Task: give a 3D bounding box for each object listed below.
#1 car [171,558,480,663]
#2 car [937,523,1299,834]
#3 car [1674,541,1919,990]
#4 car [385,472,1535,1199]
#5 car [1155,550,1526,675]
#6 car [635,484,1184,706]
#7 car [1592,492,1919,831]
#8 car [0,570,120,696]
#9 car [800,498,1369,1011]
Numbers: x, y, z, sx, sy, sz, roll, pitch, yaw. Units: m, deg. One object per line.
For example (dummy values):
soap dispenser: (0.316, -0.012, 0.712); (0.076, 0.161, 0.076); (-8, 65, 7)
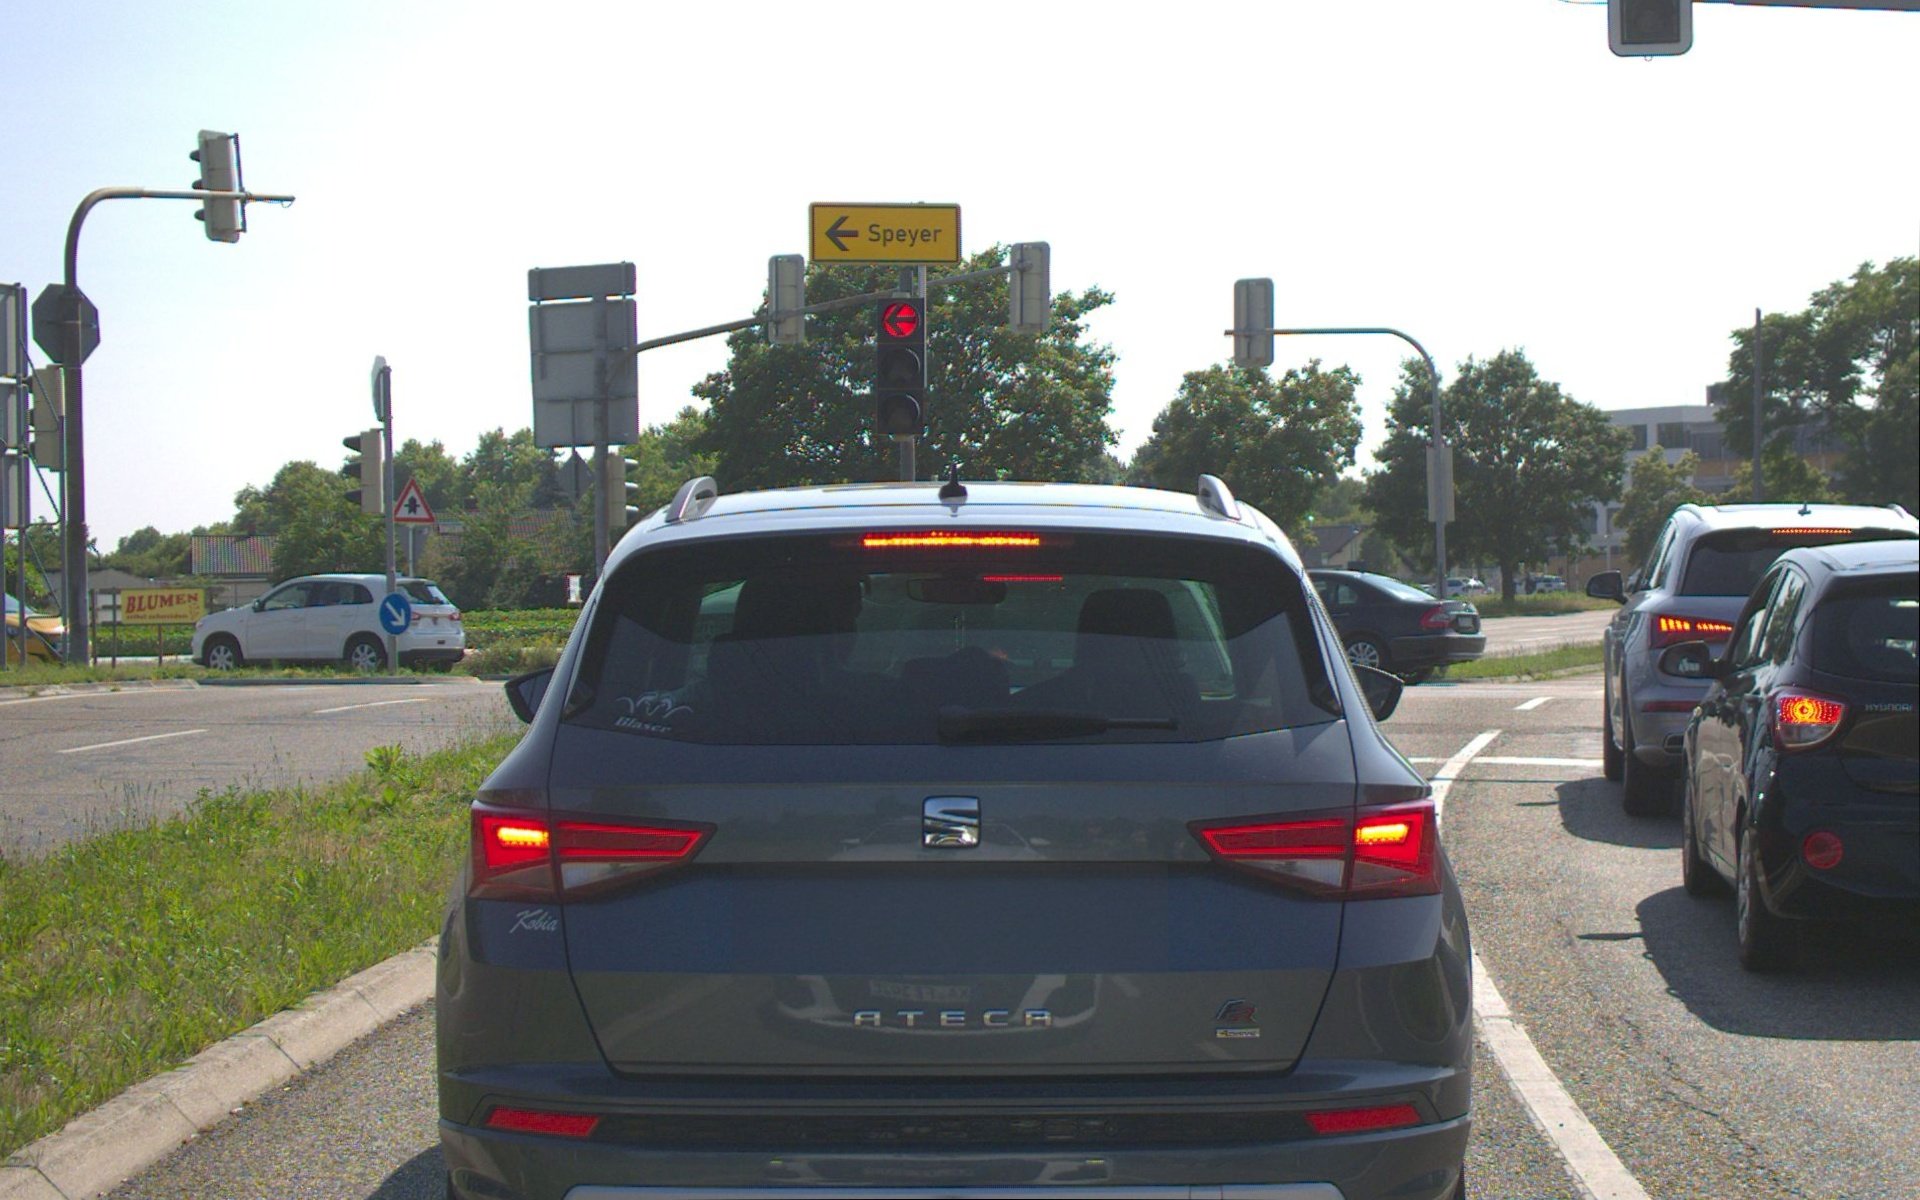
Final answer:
car: (-9.521, 0.158, 51.583); (4.327, 1.514, 1.805); (0, 1, 26)
car: (0.944, 0.360, 18.577); (1.742, 1.479, 3.623); (1, 1, 6)
car: (3.613, 0.514, 12.701); (1.633, 1.443, 3.294); (1, 1, 7)
car: (0.001, 0.581, 7.078); (1.742, 1.563, 3.624); (1, 1, 0)
car: (4.839, 0.149, 43.806); (4.327, 1.514, 1.805); (0, 1, 26)
car: (-0.406, -0.090, 31.922); (4.933, 1.911, 1.999); (-1, 2, -40)
car: (4.445, 0.282, 19.025); (1.633, 1.671, 3.748); (1, 1, 7)
car: (-13.674, 0.436, 47.140); (3.993, 1.645, 1.817); (0, 1, 29)
car: (0.423, 0.460, 12.515); (1.742, 1.563, 3.624); (1, 1, 1)
